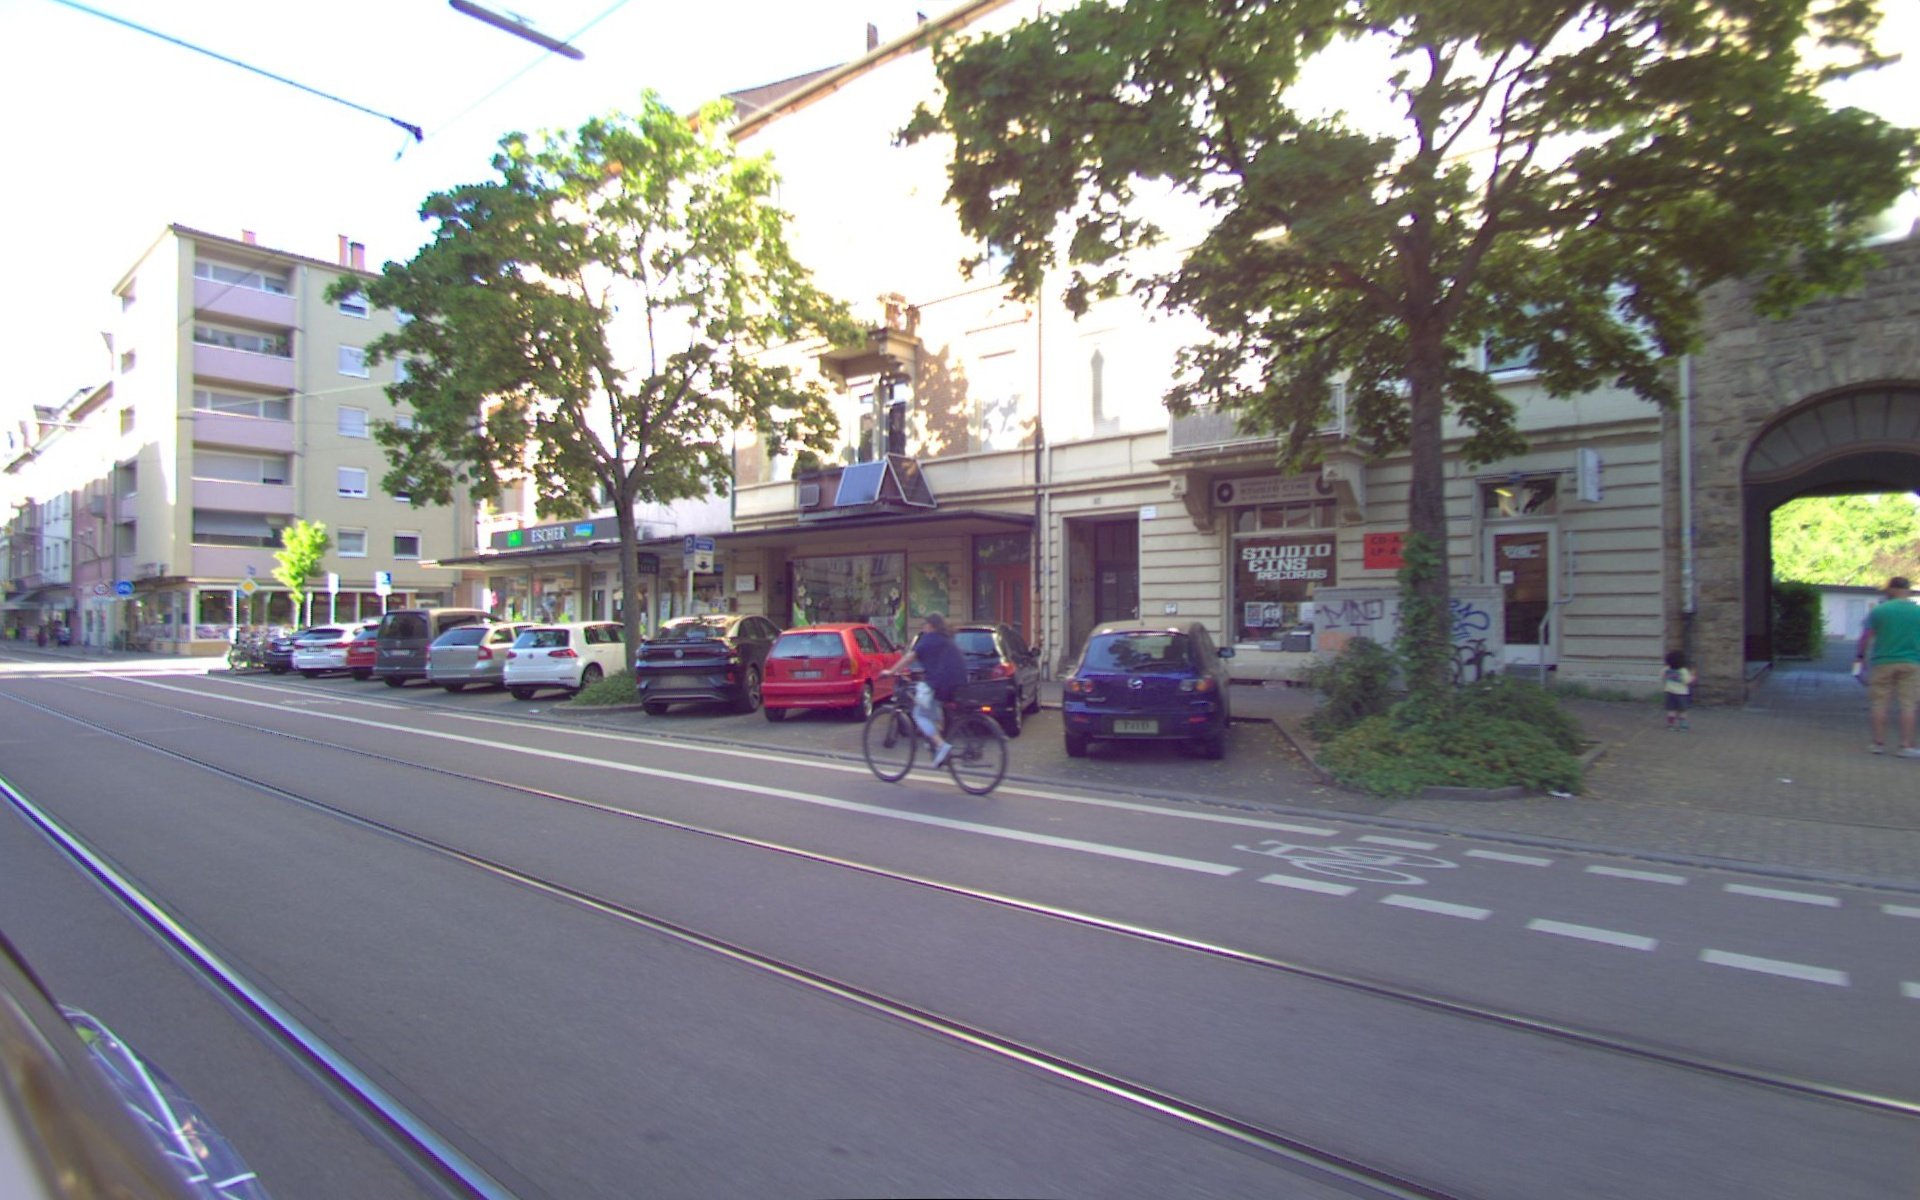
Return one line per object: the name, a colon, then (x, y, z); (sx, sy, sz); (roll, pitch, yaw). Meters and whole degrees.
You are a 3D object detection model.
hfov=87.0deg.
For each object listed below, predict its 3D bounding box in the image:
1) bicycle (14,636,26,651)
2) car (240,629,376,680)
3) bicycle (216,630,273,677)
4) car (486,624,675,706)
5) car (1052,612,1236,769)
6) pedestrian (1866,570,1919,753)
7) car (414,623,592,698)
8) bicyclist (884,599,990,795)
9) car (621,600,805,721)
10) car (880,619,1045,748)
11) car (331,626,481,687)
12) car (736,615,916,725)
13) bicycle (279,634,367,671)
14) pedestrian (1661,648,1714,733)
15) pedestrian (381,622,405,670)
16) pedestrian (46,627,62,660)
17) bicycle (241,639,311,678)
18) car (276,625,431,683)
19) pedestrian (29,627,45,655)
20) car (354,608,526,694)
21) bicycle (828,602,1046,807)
bicycle: (-69.198, 3.205, 74.494); (2.328, 1.068, 0.420); (-1, -1, 41)
car: (-19.287, 1.586, 30.110); (1.605, 1.347, 3.464); (-1, 0, 7)
bicycle: (-21.527, 1.629, 30.426); (2.431, 1.330, 0.675); (-4, -3, 37)
car: (-7.622, 1.255, 20.729); (1.750, 1.440, 3.826); (-1, 0, 15)
car: (2.255, 0.915, 12.023); (1.788, 1.500, 3.983); (-1, 0, 13)
pedestrian: (9.350, 0.584, 9.839); (0.761, 1.739, 0.572); (-1, -1, 40)
car: (-10.134, 1.293, 22.792); (1.681, 1.460, 4.005); (-1, 0, 11)
bicyclist: (-0.207, 0.843, 9.238); (0.726, 1.694, 0.627); (-1, -1, 41)
car: (-4.034, 0.927, 17.331); (1.969, 1.796, 4.364); (-1, 0, 2)
car: (0.186, 1.051, 14.308); (1.785, 1.500, 3.989); (-1, 0, 8)
car: (-14.504, 1.451, 26.699); (1.631, 1.484, 3.457); (-1, -1, 12)
car: (-1.993, 1.017, 16.224); (1.846, 1.500, 3.989); (-1, 0, 8)
bicycle: (-21.065, 1.732, 33.490); (2.396, 1.118, 0.685); (-2, -2, -9)
pedestrian: (8.319, 1.019, 11.577); (0.459, 0.929, 0.350); (-1, -1, 40)
pedestrian: (-19.873, 1.597, 35.486); (0.641, 1.665, 0.563); (-1, -1, 41)
pedestrian: (-48.187, 2.299, 53.819); (0.616, 1.698, 0.557); (-1, -1, 40)
bicycle: (-21.545, 1.833, 31.887); (1.867, 1.132, 0.681); (-3, -2, 10)
car: (-16.829, 1.460, 28.295); (1.734, 1.410, 3.782); (-1, 0, 8)
pedestrian: (-52.354, 2.324, 57.395); (0.623, 1.560, 0.629); (-1, -1, 41)
car: (-12.480, 1.163, 24.564); (1.777, 1.798, 3.811); (-1, 1, 10)
bicycle: (-0.260, 0.876, 9.298); (2.096, 1.691, 0.673); (-1, -1, 41)
